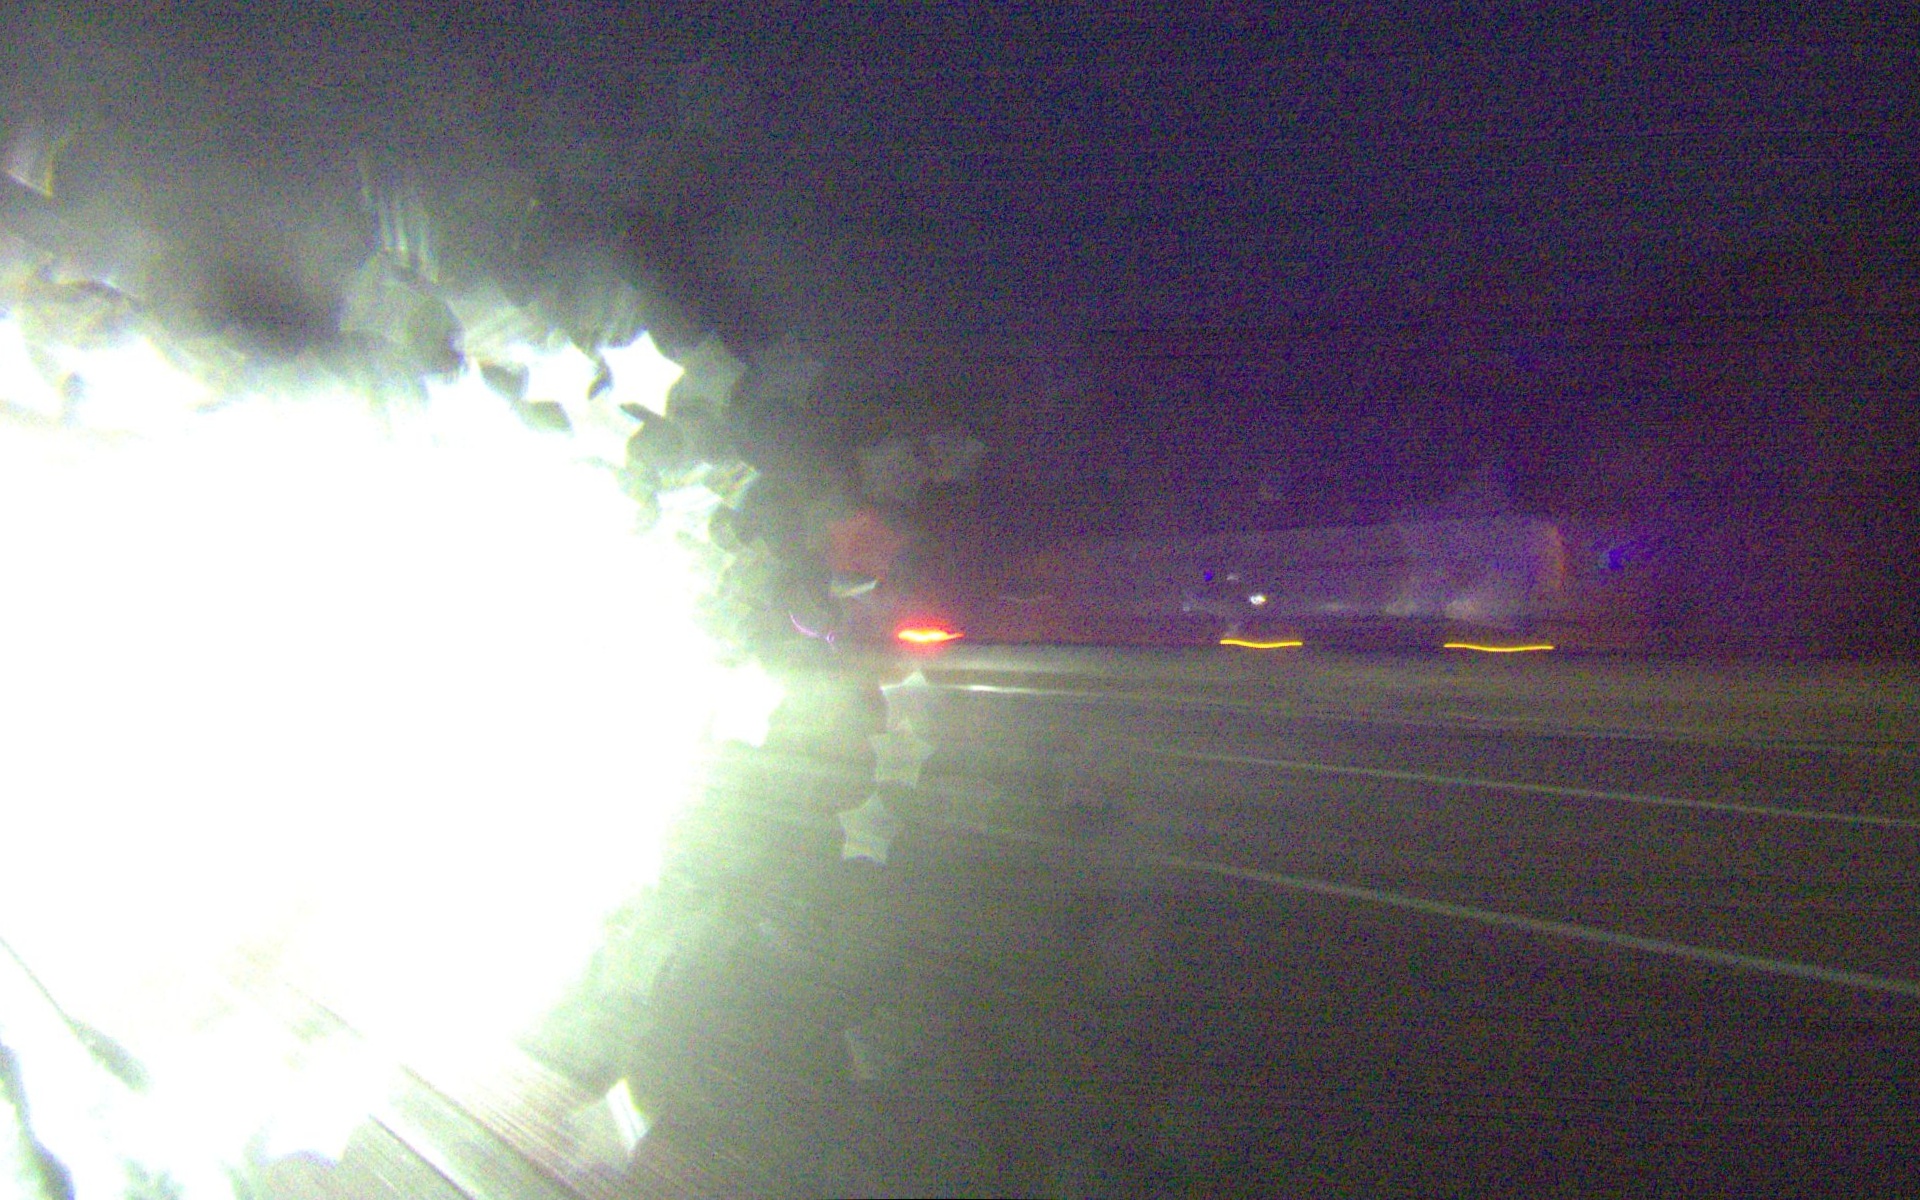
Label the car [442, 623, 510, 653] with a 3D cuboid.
[{"bbox_3d":[-25.631,1.961,53.559,4.323,1.481,1.673,-1,0,41],"label":"car"}]

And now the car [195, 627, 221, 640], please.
[{"bbox_3d":[-85.500,3.801,115.071,3.931,1.457,1.625,-1,0,41],"label":"car"}]

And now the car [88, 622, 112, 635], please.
[{"bbox_3d":[-104.236,3.424,122.703,3.931,1.457,1.625,-1,0,41],"label":"car"}]

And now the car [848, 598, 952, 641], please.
[{"bbox_3d":[-2.624,0.848,43.816,4.506,1.737,1.815,-1,0,41],"label":"car"}]

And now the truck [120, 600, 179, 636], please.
[{"bbox_3d":[-111.217,2.503,138.685,17.592,4.593,3.374,-1,0,42],"label":"truck"}]

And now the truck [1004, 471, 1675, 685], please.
[{"bbox_3d":[9.071,-0.354,28.207,17.482,4.494,3.173,-1,0,41],"label":"truck"}]

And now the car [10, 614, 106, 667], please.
[{"bbox_3d":[-31.484,1.384,35.275,4.913,1.677,1.935,-2,-1,41],"label":"car"}]

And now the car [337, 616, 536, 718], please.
[{"bbox_3d":[-8.733,0.996,16.720,4.247,1.441,1.638,-1,0,44],"label":"car"}]

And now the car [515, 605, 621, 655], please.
[{"bbox_3d":[-14.843,1.102,38.215,4.506,1.737,1.815,-1,0,41],"label":"car"}]
